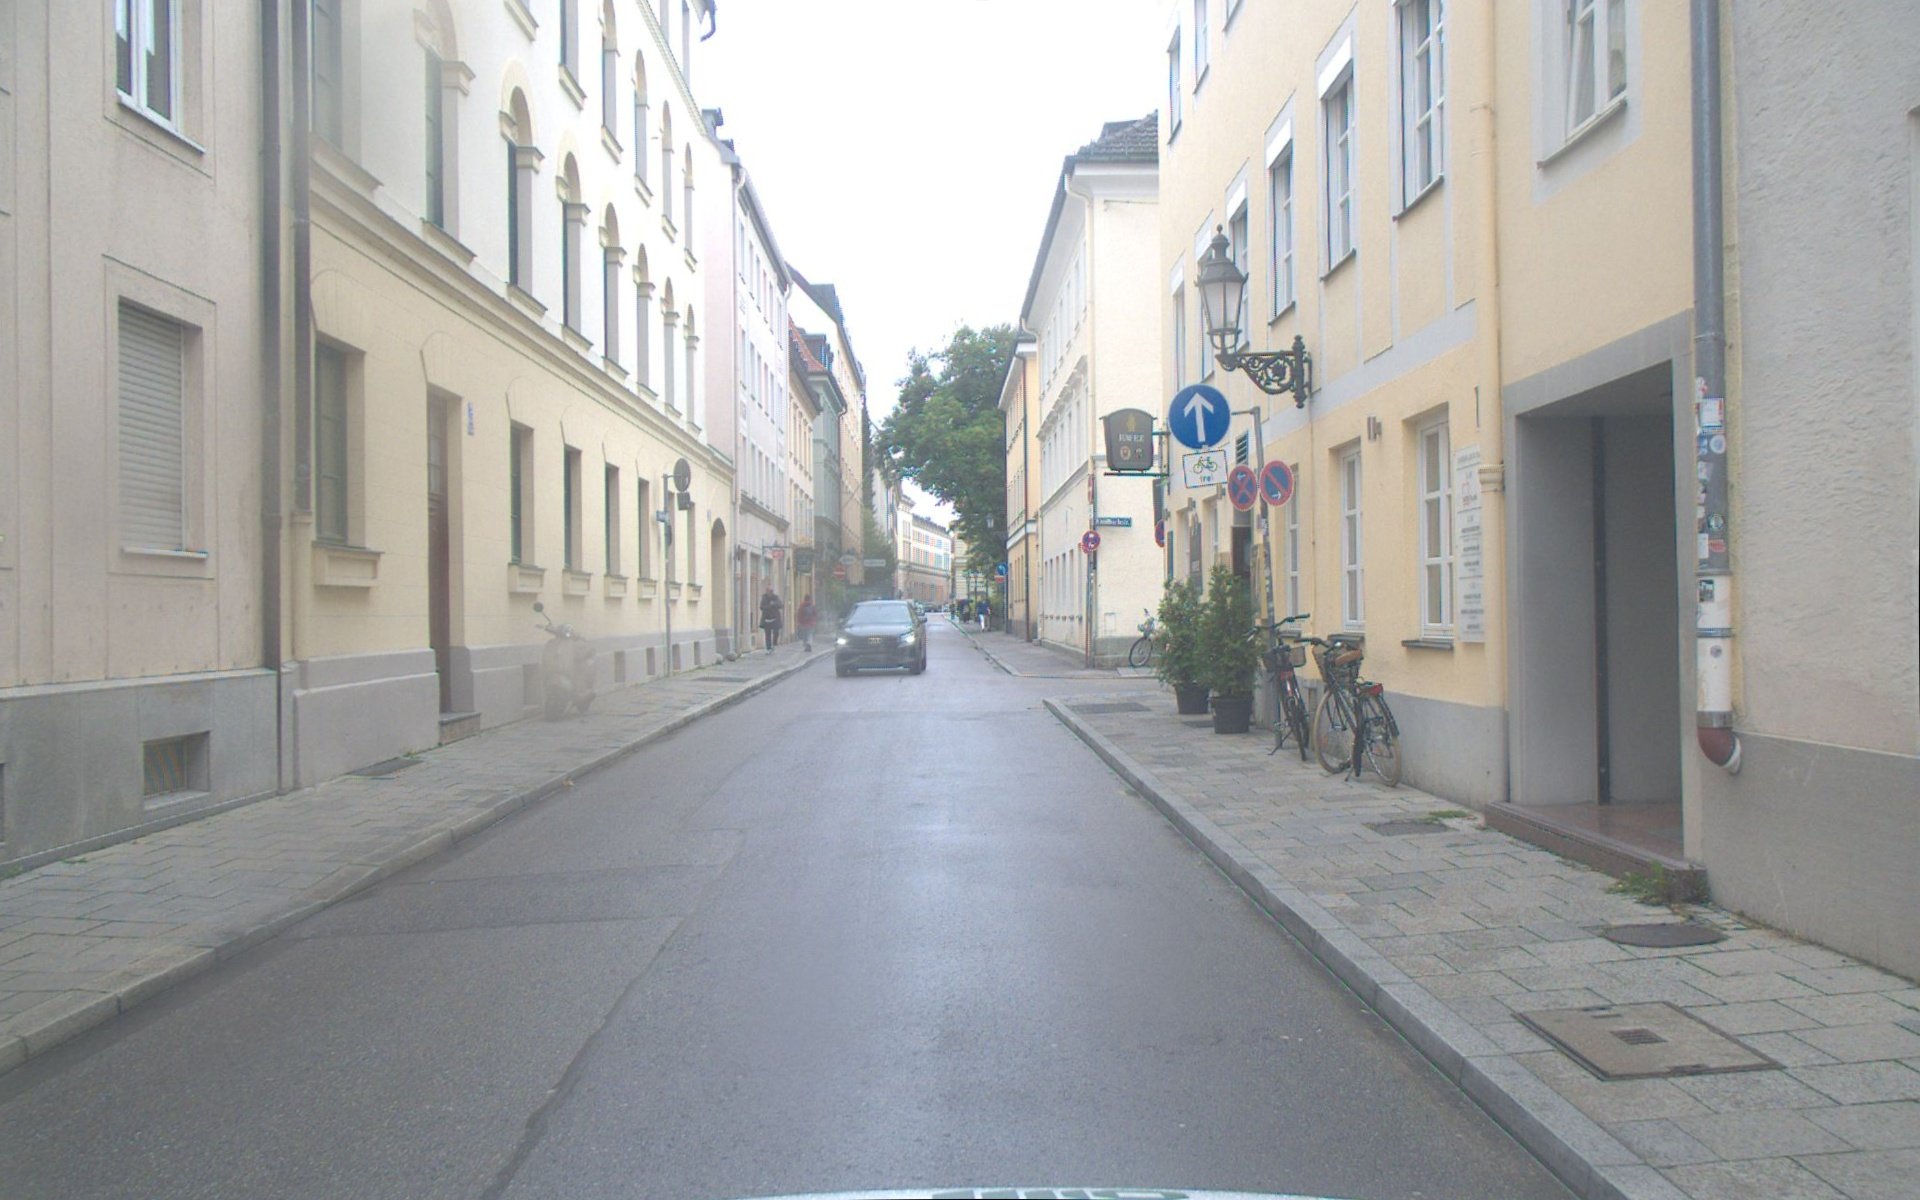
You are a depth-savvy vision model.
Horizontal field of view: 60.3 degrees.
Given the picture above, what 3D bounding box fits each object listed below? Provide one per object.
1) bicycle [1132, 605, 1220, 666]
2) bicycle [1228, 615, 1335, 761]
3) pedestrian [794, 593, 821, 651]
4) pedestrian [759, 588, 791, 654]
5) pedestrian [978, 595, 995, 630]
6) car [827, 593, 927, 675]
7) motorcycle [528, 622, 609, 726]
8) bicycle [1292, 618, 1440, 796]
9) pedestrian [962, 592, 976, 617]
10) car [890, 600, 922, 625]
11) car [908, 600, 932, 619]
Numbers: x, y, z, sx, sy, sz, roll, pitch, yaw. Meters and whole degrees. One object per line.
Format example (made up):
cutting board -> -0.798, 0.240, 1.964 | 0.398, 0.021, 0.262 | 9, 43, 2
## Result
bicycle -> 4.467, 0.731, 34.291 | 1.721, 1.164, 0.586 | -2, 2, -1
bicycle -> 2.800, 0.738, 14.546 | 0.554, 1.156, 1.684 | -3, 0, 0
pedestrian -> -4.613, 0.655, 50.070 | 0.750, 1.738, 0.785 | -1, 0, -3
pedestrian -> -5.096, 0.577, 45.646 | 0.793, 1.786, 0.989 | 0, 1, -3
pedestrian -> 1.391, 0.637, 86.085 | 0.862, 1.833, 1.046 | 0, 0, 0
car -> -1.698, 0.677, 35.116 | 1.774, 1.621, 4.001 | -1, 0, 2
motorcycle -> -4.778, 0.877, 20.287 | 0.590, 1.194, 1.708 | 0, 0, 0
bicycle -> 2.983, 0.745, 12.330 | 0.554, 1.156, 1.987 | -3, 0, 0
pedestrian -> 0.621, 0.321, 119.053 | 0.995, 1.833, 1.349 | 0, 0, 0
car -> -3.368, 0.766, 103.653 | 1.742, 1.492, 3.543 | 0, 0, 2
car -> -3.211, 0.757, 133.384 | 1.742, 1.492, 3.543 | 0, 0, 2
